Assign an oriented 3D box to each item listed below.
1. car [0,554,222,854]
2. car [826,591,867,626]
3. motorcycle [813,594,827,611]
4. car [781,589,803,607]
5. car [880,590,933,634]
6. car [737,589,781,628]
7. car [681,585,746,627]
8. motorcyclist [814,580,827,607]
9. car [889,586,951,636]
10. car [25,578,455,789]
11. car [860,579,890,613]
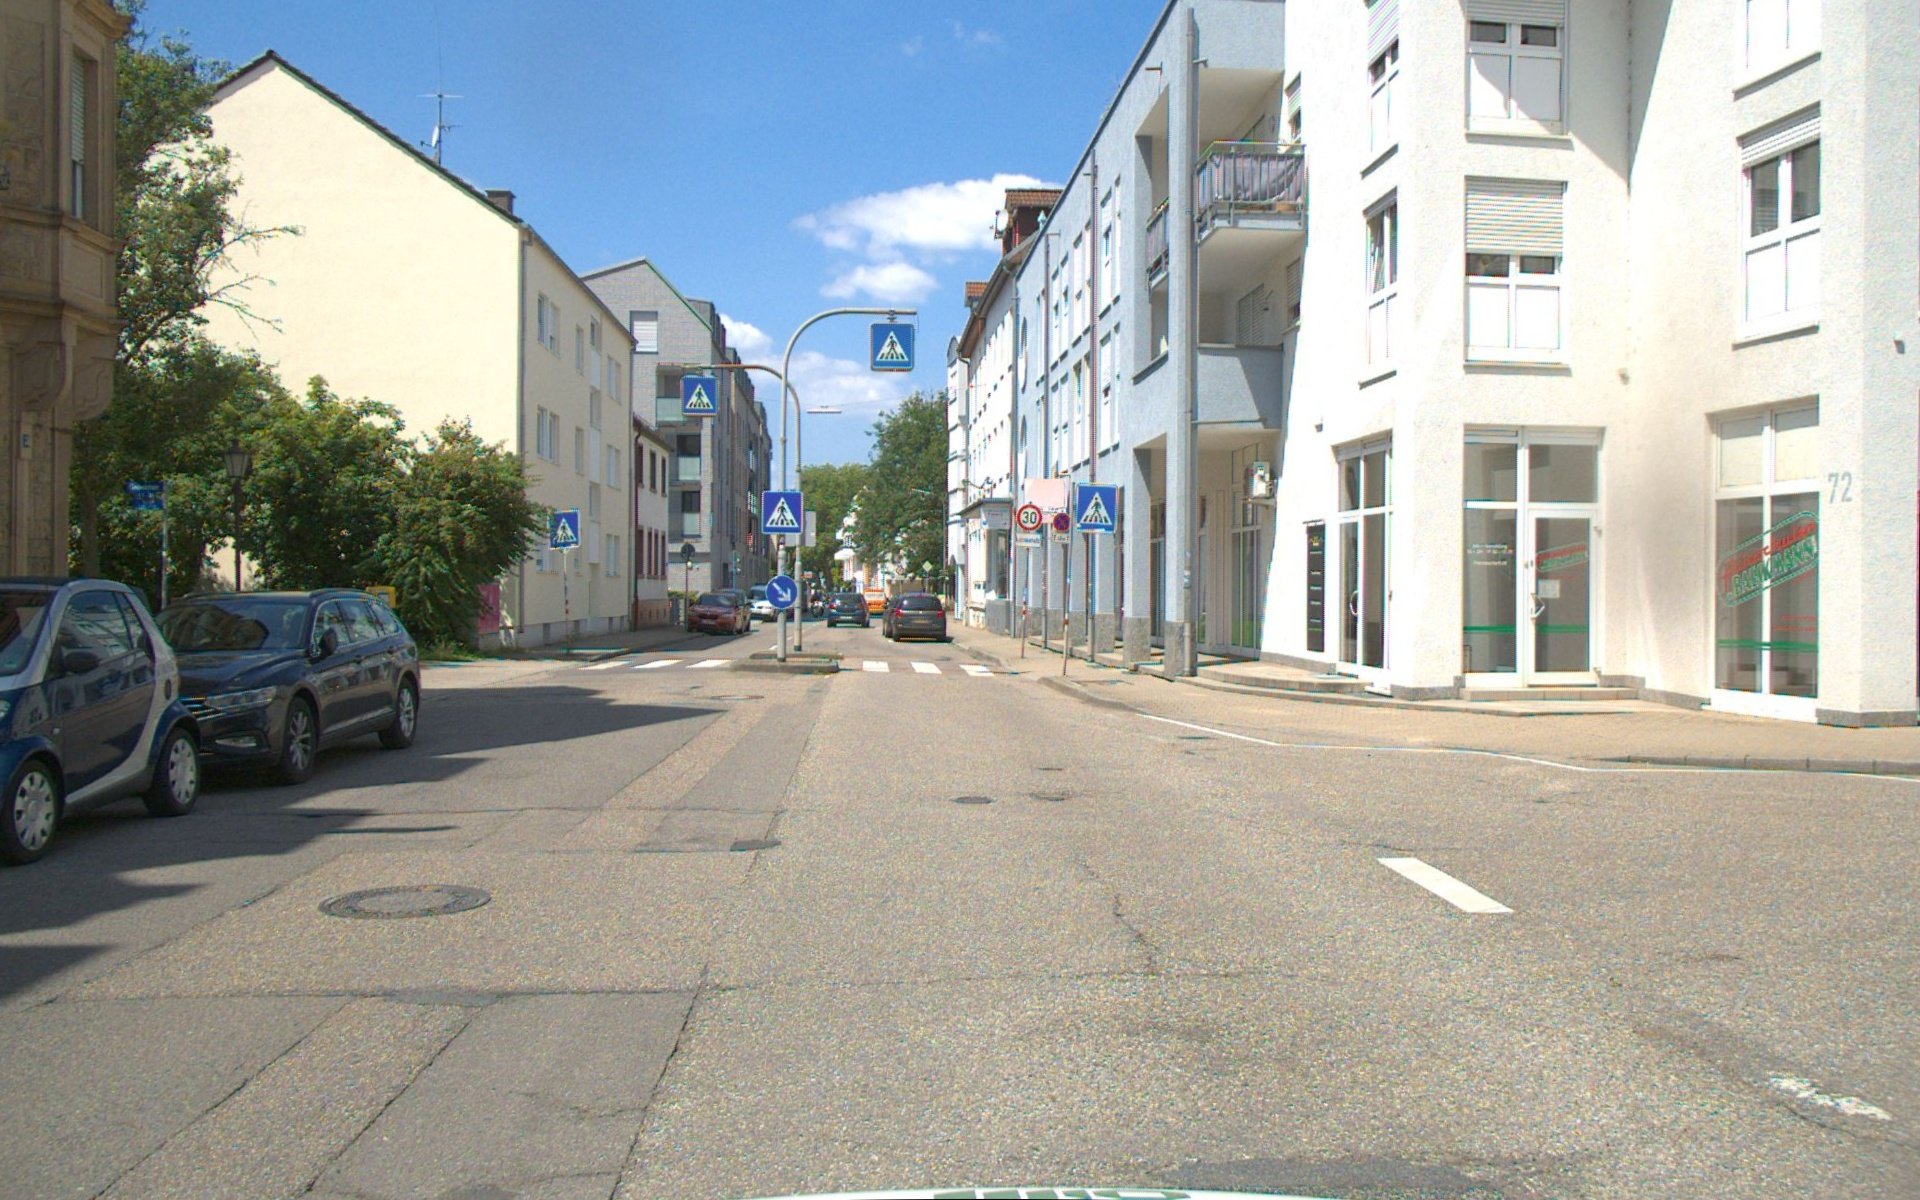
[{"bbox_3d":[-5.645,0.531,9.848,1.408,1.549,2.694,0,0,-3],"label":"car"},{"bbox_3d":[-4.891,0.356,71.470,1.681,1.426,3.997,0,1,-4],"label":"car"},{"bbox_3d":[-8.910,0.131,105.587,0.698,1.046,2.239,0,1,0],"label":"motorcycle"},{"bbox_3d":[-13.674,-0.164,135.016,1.698,1.467,3.996,0,0,-5],"label":"car"},{"bbox_3d":[-1.901,0.398,57.679,1.695,1.445,4.541,0,0,-4],"label":"car"},{"bbox_3d":[-10.553,0.418,87.214,1.721,1.925,4.336,3,0,0],"label":"car"},{"bbox_3d":[-8.806,0.197,59.463,1.797,1.441,4.288,1,0,-2],"label":"car"},{"bbox_3d":[-8.923,-0.415,105.690,0.698,1.663,1.069,0,1,0],"label":"motorcyclist"},{"bbox_3d":[-1.299,0.333,52.542,1.676,1.534,3.995,0,0,-6],"label":"car"},{"bbox_3d":[-5.795,0.576,14.013,1.747,1.483,4.633,0,0,-2],"label":"car"},{"bbox_3d":[-5.395,-0.266,104.757,1.802,2.049,3.997,0,1,-4],"label":"car"}]
